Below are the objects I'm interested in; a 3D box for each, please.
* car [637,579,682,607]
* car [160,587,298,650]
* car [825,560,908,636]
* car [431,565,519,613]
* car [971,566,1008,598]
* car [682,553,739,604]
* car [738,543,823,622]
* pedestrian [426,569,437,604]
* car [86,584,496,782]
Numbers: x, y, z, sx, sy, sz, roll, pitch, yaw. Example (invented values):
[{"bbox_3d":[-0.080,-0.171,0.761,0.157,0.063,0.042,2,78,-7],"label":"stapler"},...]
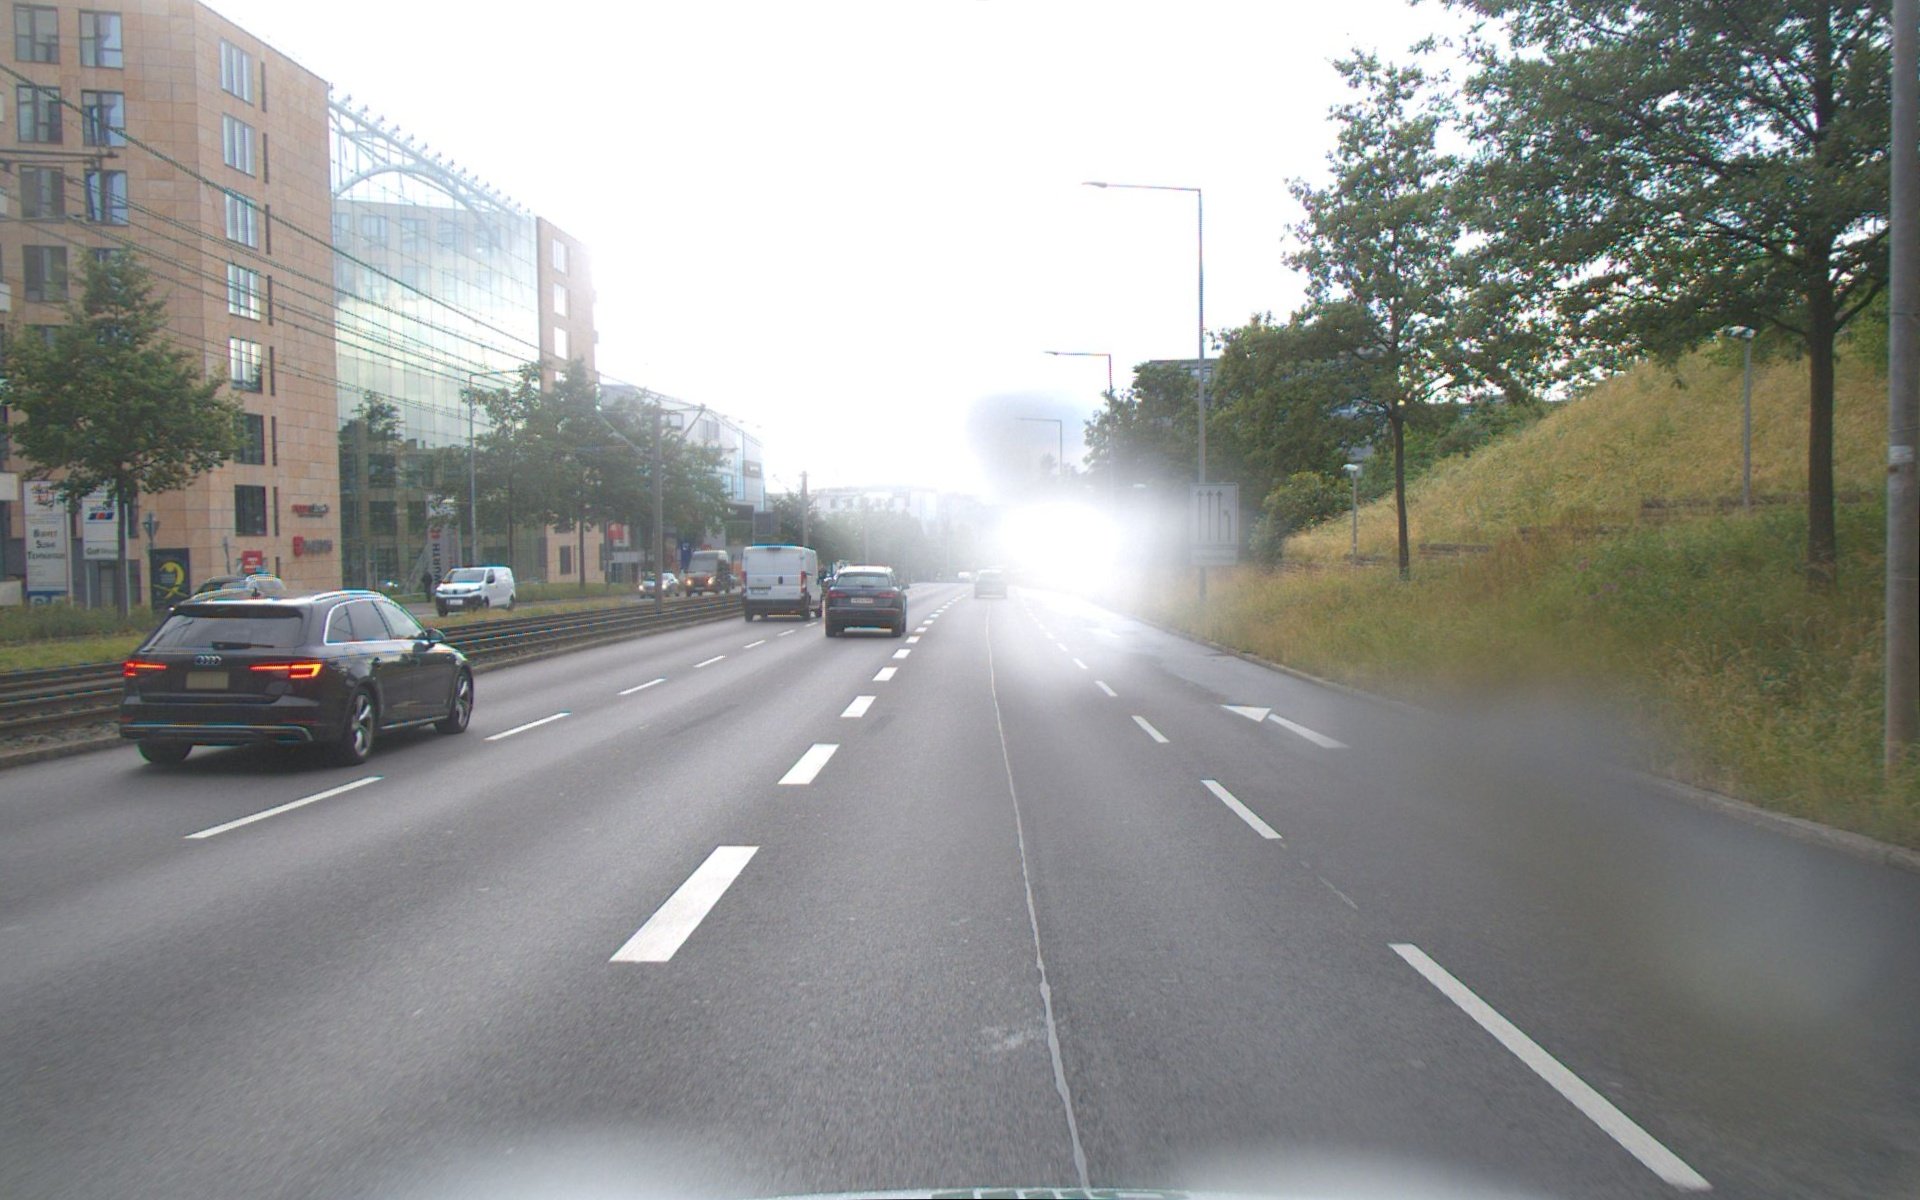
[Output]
[{"bbox_3d":[-18.114,-0.432,99.884,1.723,1.560,4.818,1,1,1],"label":"car"},{"bbox_3d":[-20.497,0.477,46.569,1.772,1.634,4.492,1,1,1],"label":"car"},{"bbox_3d":[-2.229,-0.033,40.371,1.884,1.740,4.096,1,-1,-2],"label":"car"},{"bbox_3d":[-19.330,-0.475,66.200,1.897,1.792,5.063,1,1,1],"label":"car"},{"bbox_3d":[1.524,-0.957,86.757,1.753,1.618,3.999,-1,1,-2],"label":"car"},{"bbox_3d":[-14.796,-1.277,98.377,2.334,2.866,5.613,1,1,2],"label":"car"},{"bbox_3d":[-5.548,-0.565,51.762,2.222,2.324,4.758,1,1,-1],"label":"car"},{"bbox_3d":[-28.445,-0.709,88.975,0.415,1.859,0.477,1,-1,-2],"label":"pedestrian"},{"bbox_3d":[-5.751,0.606,14.957,1.749,1.438,4.806,1,1,0],"label":"car"}]
